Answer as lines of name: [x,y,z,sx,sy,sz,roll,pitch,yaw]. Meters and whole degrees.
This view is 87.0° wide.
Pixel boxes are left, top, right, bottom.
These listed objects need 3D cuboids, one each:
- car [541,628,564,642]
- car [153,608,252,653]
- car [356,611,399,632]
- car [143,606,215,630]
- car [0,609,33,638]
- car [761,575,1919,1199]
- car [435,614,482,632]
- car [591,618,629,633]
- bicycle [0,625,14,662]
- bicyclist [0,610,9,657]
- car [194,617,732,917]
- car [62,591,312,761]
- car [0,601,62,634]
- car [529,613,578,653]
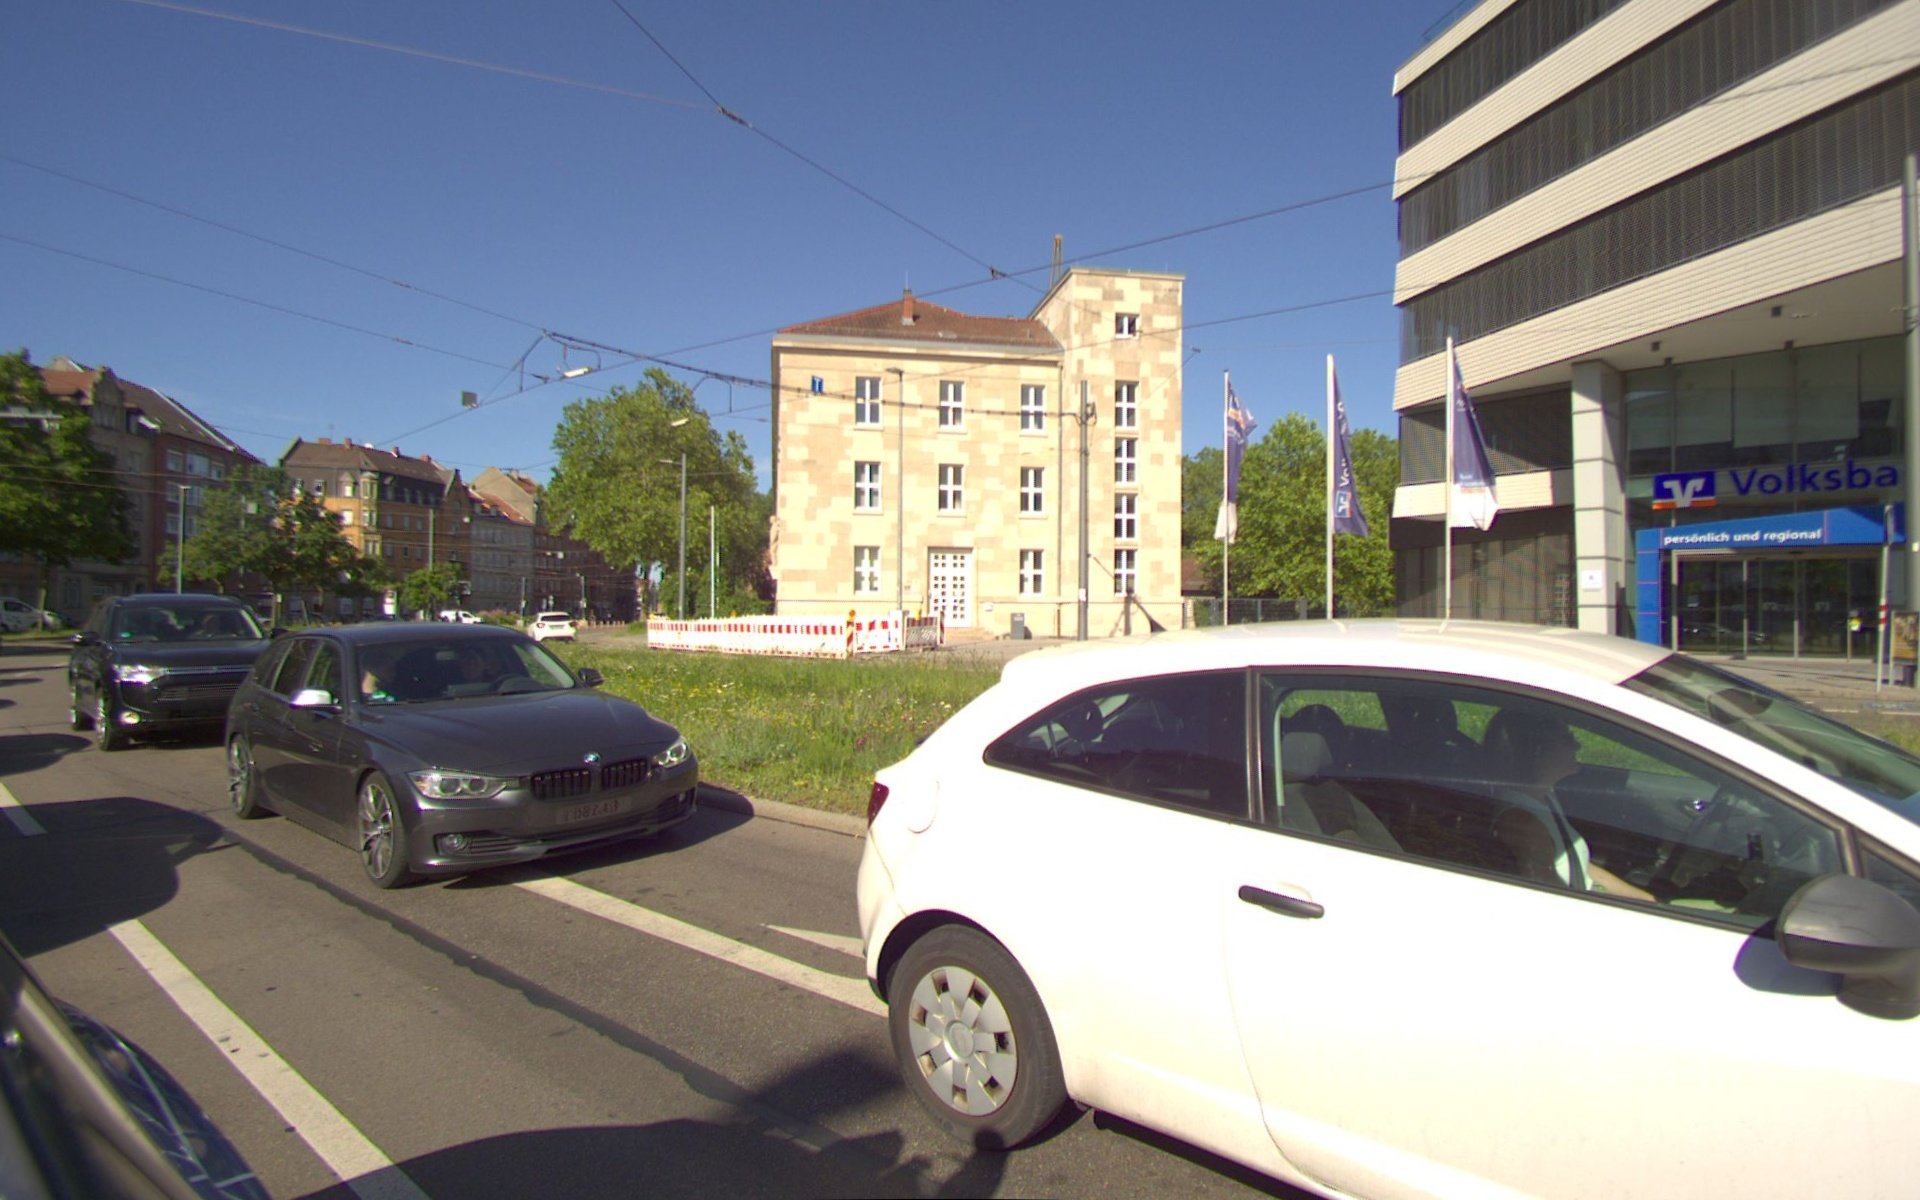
car: [-50.032,4.270,124.397,1.811,1.659,4.157,1,-1,-10]
car: [-37.690,1.484,50.535,1.952,2.101,4.722,1,-1,-9]
car: [-42.828,1.602,74.494,1.809,1.483,4.728,1,-1,-19]
car: [-53.931,1.279,69.882,3.771,1.603,1.601,2,-2,-44]
car: [-48.765,1.156,50.394,3.768,1.390,1.602,2,-2,-41]
car: [1.480,0.695,2.487,4.020,1.452,1.714,0,2,40]
car: [-57.281,2.641,115.687,4.513,1.889,2.006,-1,0,-16]
car: [-39.974,2.948,115.555,4.001,1.669,1.772,1,-1,-16]
bicycle: [-35.401,1.588,36.962,0.724,1.371,2.082,1,-1,-28]
bicyclist: [-35.383,1.212,36.921,0.723,1.707,0.974,1,-1,-28]
car: [-3.599,0.828,6.887,4.424,1.377,1.719,-1,0,41]
car: [-9.381,0.774,12.138,1.817,1.658,4.400,-1,-1,-45]
car: [-49.930,0.896,52.800,4.514,1.680,1.601,2,-2,-43]
car: [-17.880,1.438,44.448,1.794,1.658,4.195,0,-1,-25]
